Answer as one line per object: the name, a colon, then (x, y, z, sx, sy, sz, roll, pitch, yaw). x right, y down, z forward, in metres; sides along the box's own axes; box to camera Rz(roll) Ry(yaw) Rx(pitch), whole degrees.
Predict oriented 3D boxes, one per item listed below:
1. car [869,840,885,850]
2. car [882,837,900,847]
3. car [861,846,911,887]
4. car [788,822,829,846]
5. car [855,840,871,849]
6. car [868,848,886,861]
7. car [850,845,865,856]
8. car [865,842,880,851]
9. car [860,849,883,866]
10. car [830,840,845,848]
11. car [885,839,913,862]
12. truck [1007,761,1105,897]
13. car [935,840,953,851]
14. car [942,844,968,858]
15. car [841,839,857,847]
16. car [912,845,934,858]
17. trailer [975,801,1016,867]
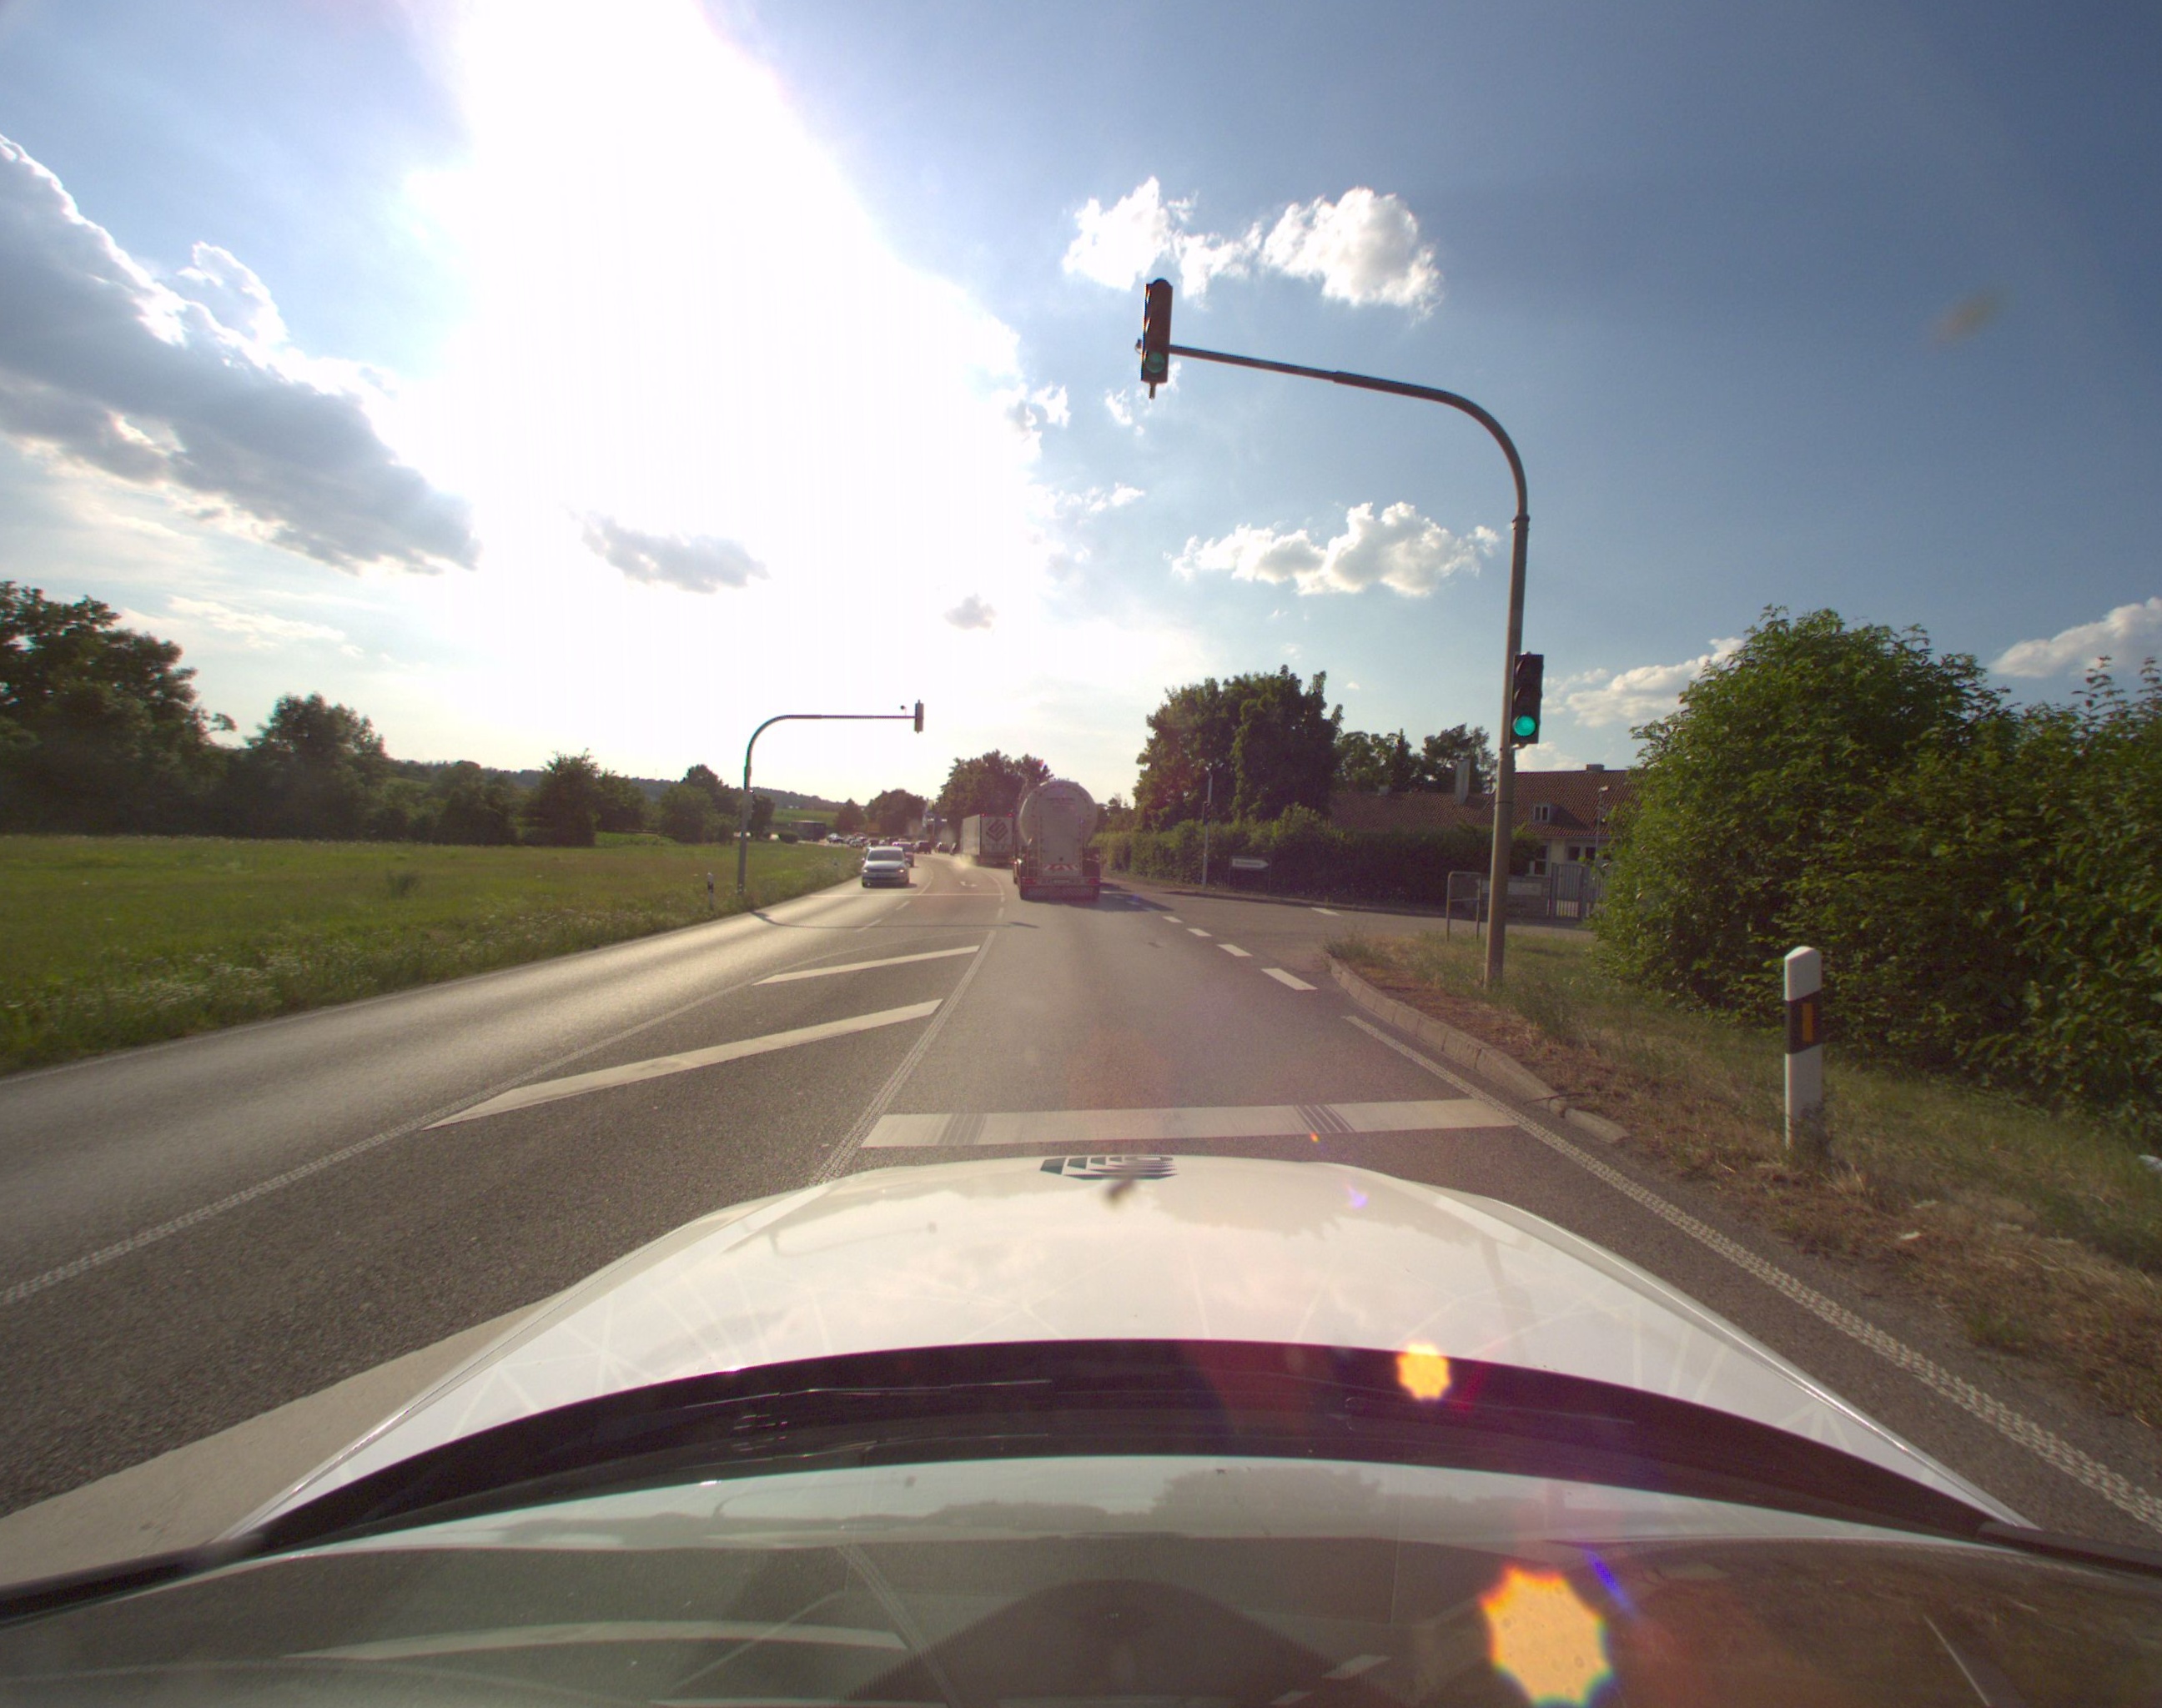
car: (-34.467, -1.521, 137.645, 2.094, 1.599, 3.969, 1, 0, -23)
car: (-30.502, -1.870, 130.706, 1.893, 1.599, 3.963, 1, 0, -29)
car: (-8.213, 0.488, 34.519, 1.883, 1.599, 3.984, 1, 0, -12)
car: (-59.242, -4.286, 176.731, 3.571, 5.059, 13.087, 1, 0, -41)
car: (-39.971, -1.717, 149.279, 1.894, 1.599, 3.961, 1, 0, -31)
car: (-25.796, 0.080, 102.932, 1.887, 1.599, 3.975, 1, 0, -19)
car: (-34.085, -0.545, 124.118, 1.887, 1.599, 3.975, 1, 0, -19)
car: (-36.968, -1.334, 144.248, 1.891, 1.599, 3.967, 1, 0, -25)
car: (-20.449, 0.346, 79.285, 1.887, 1.599, 3.975, 1, 0, -19)
car: (-48.506, -2.030, 162.380, 1.894, 1.599, 3.961, 1, 0, -31)
car: (-13.613, -0.269, 60.810, 1.884, 1.599, 3.981, 1, 0, -14)
truck: (-1.178, -0.657, 30.957, 2.970, 4.176, 11.643, 1, -1, -4)
car: (-19.806, -1.186, 117.907, 1.691, 1.468, 3.970, 1, -1, -22)
car: (-16.012, -0.368, 103.264, 2.005, 1.656, 3.963, 2, -1, -29)
car: (-44.781, -2.112, 156.891, 1.894, 1.599, 3.960, 1, 0, -32)
car: (-21.353, -0.356, 109.930, 1.893, 1.599, 3.963, 1, 0, -29)
trailer: (-7.039, -1.423, 66.498, 2.961, 4.882, 10.262, 1, -1, -7)
